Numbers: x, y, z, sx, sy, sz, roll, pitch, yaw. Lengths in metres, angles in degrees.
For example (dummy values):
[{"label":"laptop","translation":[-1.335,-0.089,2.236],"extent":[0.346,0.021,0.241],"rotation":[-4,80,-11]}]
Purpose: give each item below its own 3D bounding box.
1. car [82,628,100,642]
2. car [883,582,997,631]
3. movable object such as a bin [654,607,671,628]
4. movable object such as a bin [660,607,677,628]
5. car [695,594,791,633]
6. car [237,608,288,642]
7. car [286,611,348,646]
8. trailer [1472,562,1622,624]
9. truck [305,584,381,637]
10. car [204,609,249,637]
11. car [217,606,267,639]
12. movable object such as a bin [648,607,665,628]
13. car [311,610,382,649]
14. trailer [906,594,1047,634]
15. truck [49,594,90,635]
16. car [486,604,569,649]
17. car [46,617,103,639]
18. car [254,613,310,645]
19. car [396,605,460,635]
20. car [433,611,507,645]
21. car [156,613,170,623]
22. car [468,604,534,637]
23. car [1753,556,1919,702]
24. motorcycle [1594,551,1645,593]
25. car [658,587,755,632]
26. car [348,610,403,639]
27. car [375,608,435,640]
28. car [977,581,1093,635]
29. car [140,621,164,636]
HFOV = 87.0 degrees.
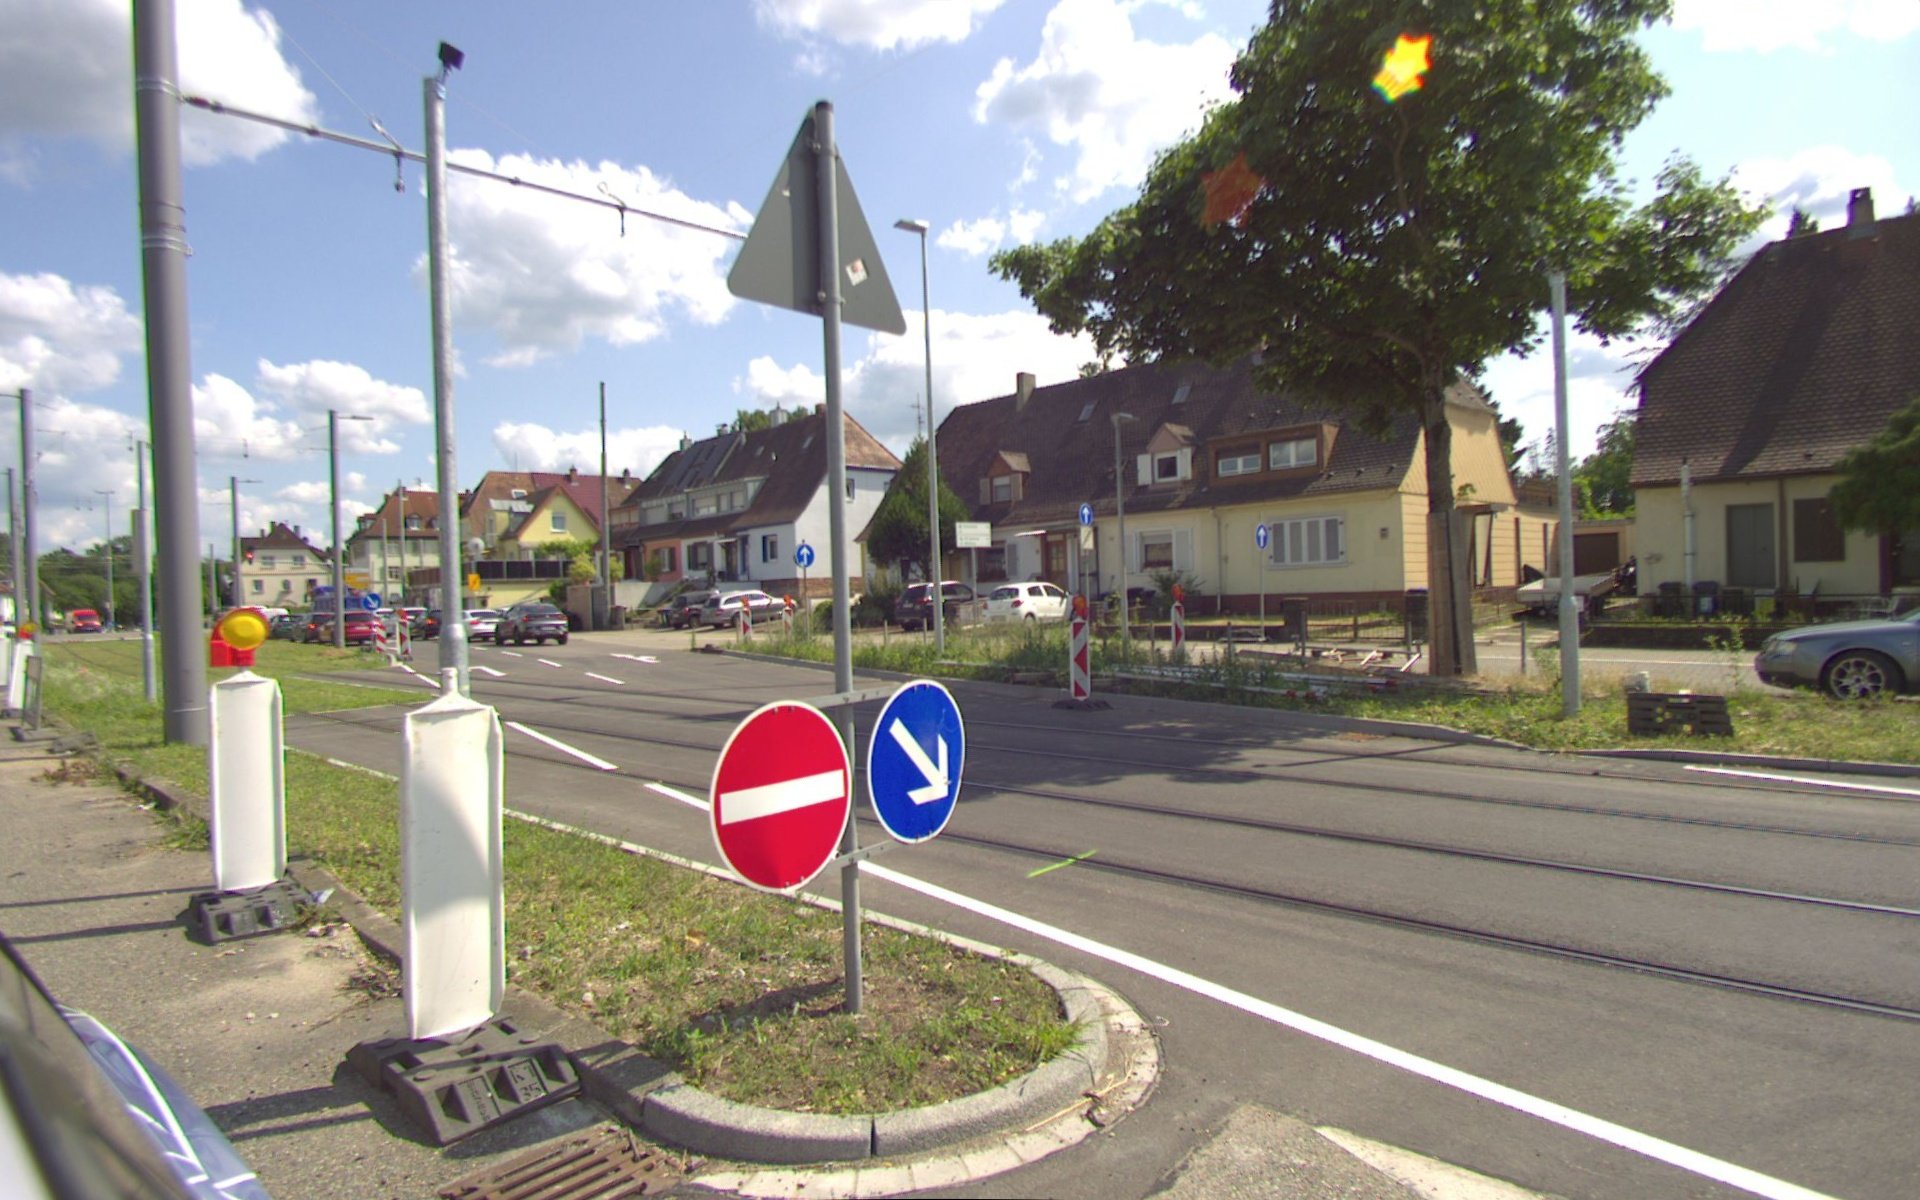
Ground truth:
[{"label":"car","translation":[-130.169,5.211,151.610],"extent":[2.029,2.023,4.957],"rotation":[-2,0,-40]},{"label":"car","translation":[-0.668,0.210,35.573],"extent":[3.838,1.556,1.708],"rotation":[-2,1,-43]},{"label":"movable object such as a bin","translation":[-13.947,0.819,47.435],"extent":[0.583,0.959,0.510],"rotation":[-1,0,45]},{"label":"movable object such as a bin","translation":[-13.524,0.826,47.013],"extent":[0.610,0.959,0.510],"rotation":[-1,0,45]},{"label":"car","translation":[-9.526,0.579,44.520],"extent":[1.682,1.567,3.836],"rotation":[-1,1,43]},{"label":"car","translation":[-41.141,1.457,59.674],"extent":[1.705,1.868,4.545],"rotation":[-2,1,-44]},{"label":"car","translation":[-31.564,1.377,49.602],"extent":[1.705,1.574,4.649],"rotation":[-2,1,-43]},{"label":"trailer","translation":[14.927,-0.212,25.573],"extent":[2.025,1.404,5.196],"rotation":[-1,1,45]},{"label":"truck","translation":[-39.840,0.667,65.251],"extent":[2.801,3.178,7.945],"rotation":[-2,1,-41]},{"label":"car","translation":[-50.571,1.591,69.749],"extent":[1.896,1.794,4.545],"rotation":[-2,1,-44]},{"label":"car","translation":[-46.287,1.418,65.209],"extent":[1.896,1.979,4.545],"rotation":[-2,1,-44]},{"label":"movable object such as a bin","translation":[-14.357,0.843,47.849],"extent":[0.583,0.959,0.510],"rotation":[-1,0,45]},{"label":"car","translation":[-26.910,1.256,44.333],"extent":[1.705,1.574,4.546],"rotation":[-2,1,-43]},{"label":"trailer","translation":[0.632,0.432,33.821],"extent":[1.960,1.133,4.868],"rotation":[-1,1,42]},{"label":"truck","translation":[-120.233,1.982,136.824],"extent":[3.424,5.222,14.243],"rotation":[-2,1,-39]},{"label":"car","translation":[-16.533,0.988,38.563],"extent":[1.703,1.538,4.780],"rotation":[-2,1,-38]},{"label":"car","translation":[-86.050,2.711,98.333],"extent":[4.952,1.886,2.269],"rotation":[-2,0,23]},{"label":"car","translation":[-36.615,1.555,54.627],"extent":[1.705,1.574,4.545],"rotation":[-2,1,-44]},{"label":"car","translation":[-25.827,0.968,49.042],"extent":[1.704,1.344,4.548],"rotation":[-2,1,-41]},{"label":"car","translation":[-21.166,1.193,43.647],"extent":[1.704,1.344,4.548],"rotation":[-2,1,-41]},{"label":"car","translation":[-138.827,3.112,176.298],"extent":[1.696,1.603,4.178],"rotation":[-2,1,-41]},{"label":"car","translation":[-23.708,1.028,52.223],"extent":[1.705,1.574,4.546],"rotation":[-2,1,-43]},{"label":"car","translation":[11.057,0.255,10.173],"extent":[4.754,1.476,1.674],"rotation":[-1,1,42]},{"label":"motorcycle","translation":[21.642,-0.907,33.169],"extent":[0.914,1.298,2.781],"rotation":[-2,0,43]},{"label":"car","translation":[-11.607,0.413,46.452],"extent":[1.802,1.859,3.944],"rotation":[-1,1,43]},{"label":"car","translation":[-34.173,1.401,59.138],"extent":[1.705,1.574,4.545],"rotation":[-2,1,-44]},{"label":"car","translation":[-29.720,1.288,54.114],"extent":[1.705,1.574,4.546],"rotation":[-2,1,-43]},{"label":"car","translation":[2.413,0.219,31.783],"extent":[1.758,1.556,3.913],"rotation":[-1,1,38]},{"label":"car","translation":[-106.721,3.720,133.775],"extent":[2.249,1.886,4.996],"rotation":[-2,1,-36]}]
